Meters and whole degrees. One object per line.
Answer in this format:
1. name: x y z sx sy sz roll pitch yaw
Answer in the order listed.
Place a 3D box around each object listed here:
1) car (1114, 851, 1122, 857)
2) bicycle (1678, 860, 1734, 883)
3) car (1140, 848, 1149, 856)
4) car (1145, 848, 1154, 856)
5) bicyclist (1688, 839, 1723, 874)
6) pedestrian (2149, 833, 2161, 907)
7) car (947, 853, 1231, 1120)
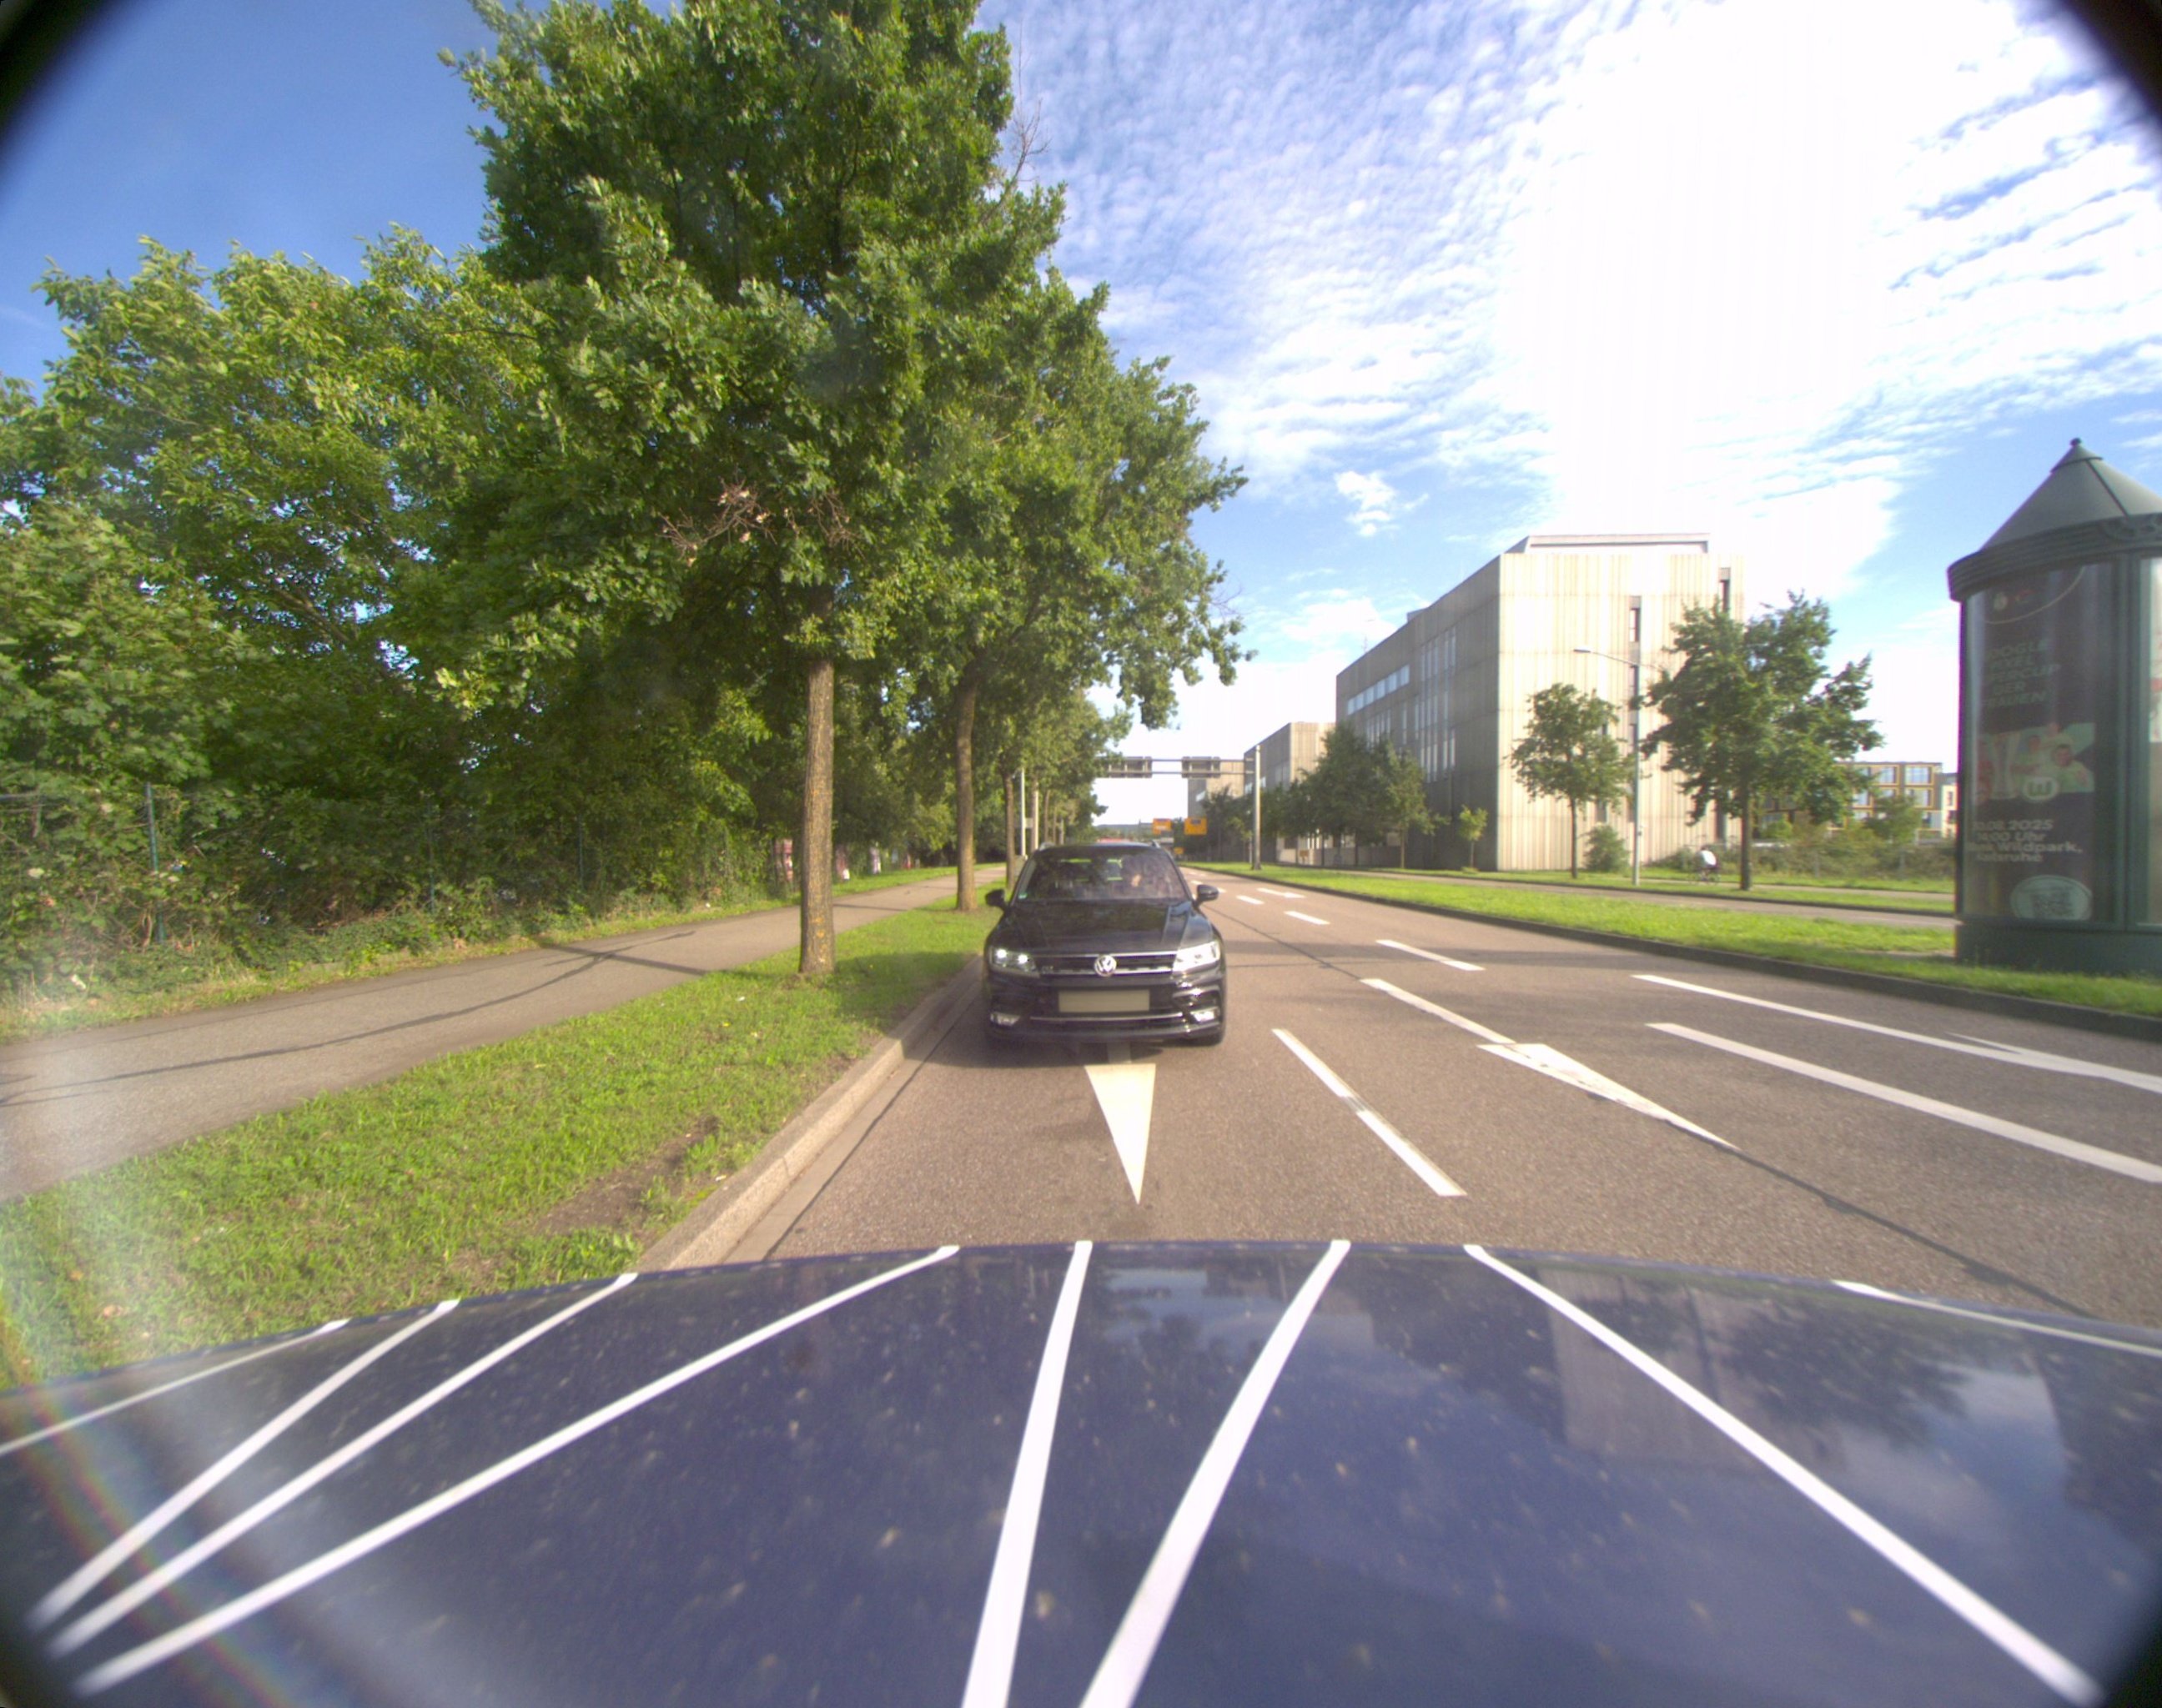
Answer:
1. car: 8.459 0.000 174.763 1.745 1.455 4.000 -1 1 3
2. bicycle: 27.600 0.755 33.616 0.897 0.975 1.911 1 0 1
3. car: 16.936 -0.592 203.161 1.998 2.002 3.983 0 0 0
4. car: 17.297 -0.579 192.248 1.998 2.002 4.000 0 0 0
5. bicyclist: 27.587 0.105 33.571 0.707 1.517 0.989 0 1 1
6. pedestrian: 29.491 0.426 20.294 0.676 2.002 0.867 0 1 0
7. car: 0.108 0.856 6.804 1.775 1.637 3.868 -2 1 2
